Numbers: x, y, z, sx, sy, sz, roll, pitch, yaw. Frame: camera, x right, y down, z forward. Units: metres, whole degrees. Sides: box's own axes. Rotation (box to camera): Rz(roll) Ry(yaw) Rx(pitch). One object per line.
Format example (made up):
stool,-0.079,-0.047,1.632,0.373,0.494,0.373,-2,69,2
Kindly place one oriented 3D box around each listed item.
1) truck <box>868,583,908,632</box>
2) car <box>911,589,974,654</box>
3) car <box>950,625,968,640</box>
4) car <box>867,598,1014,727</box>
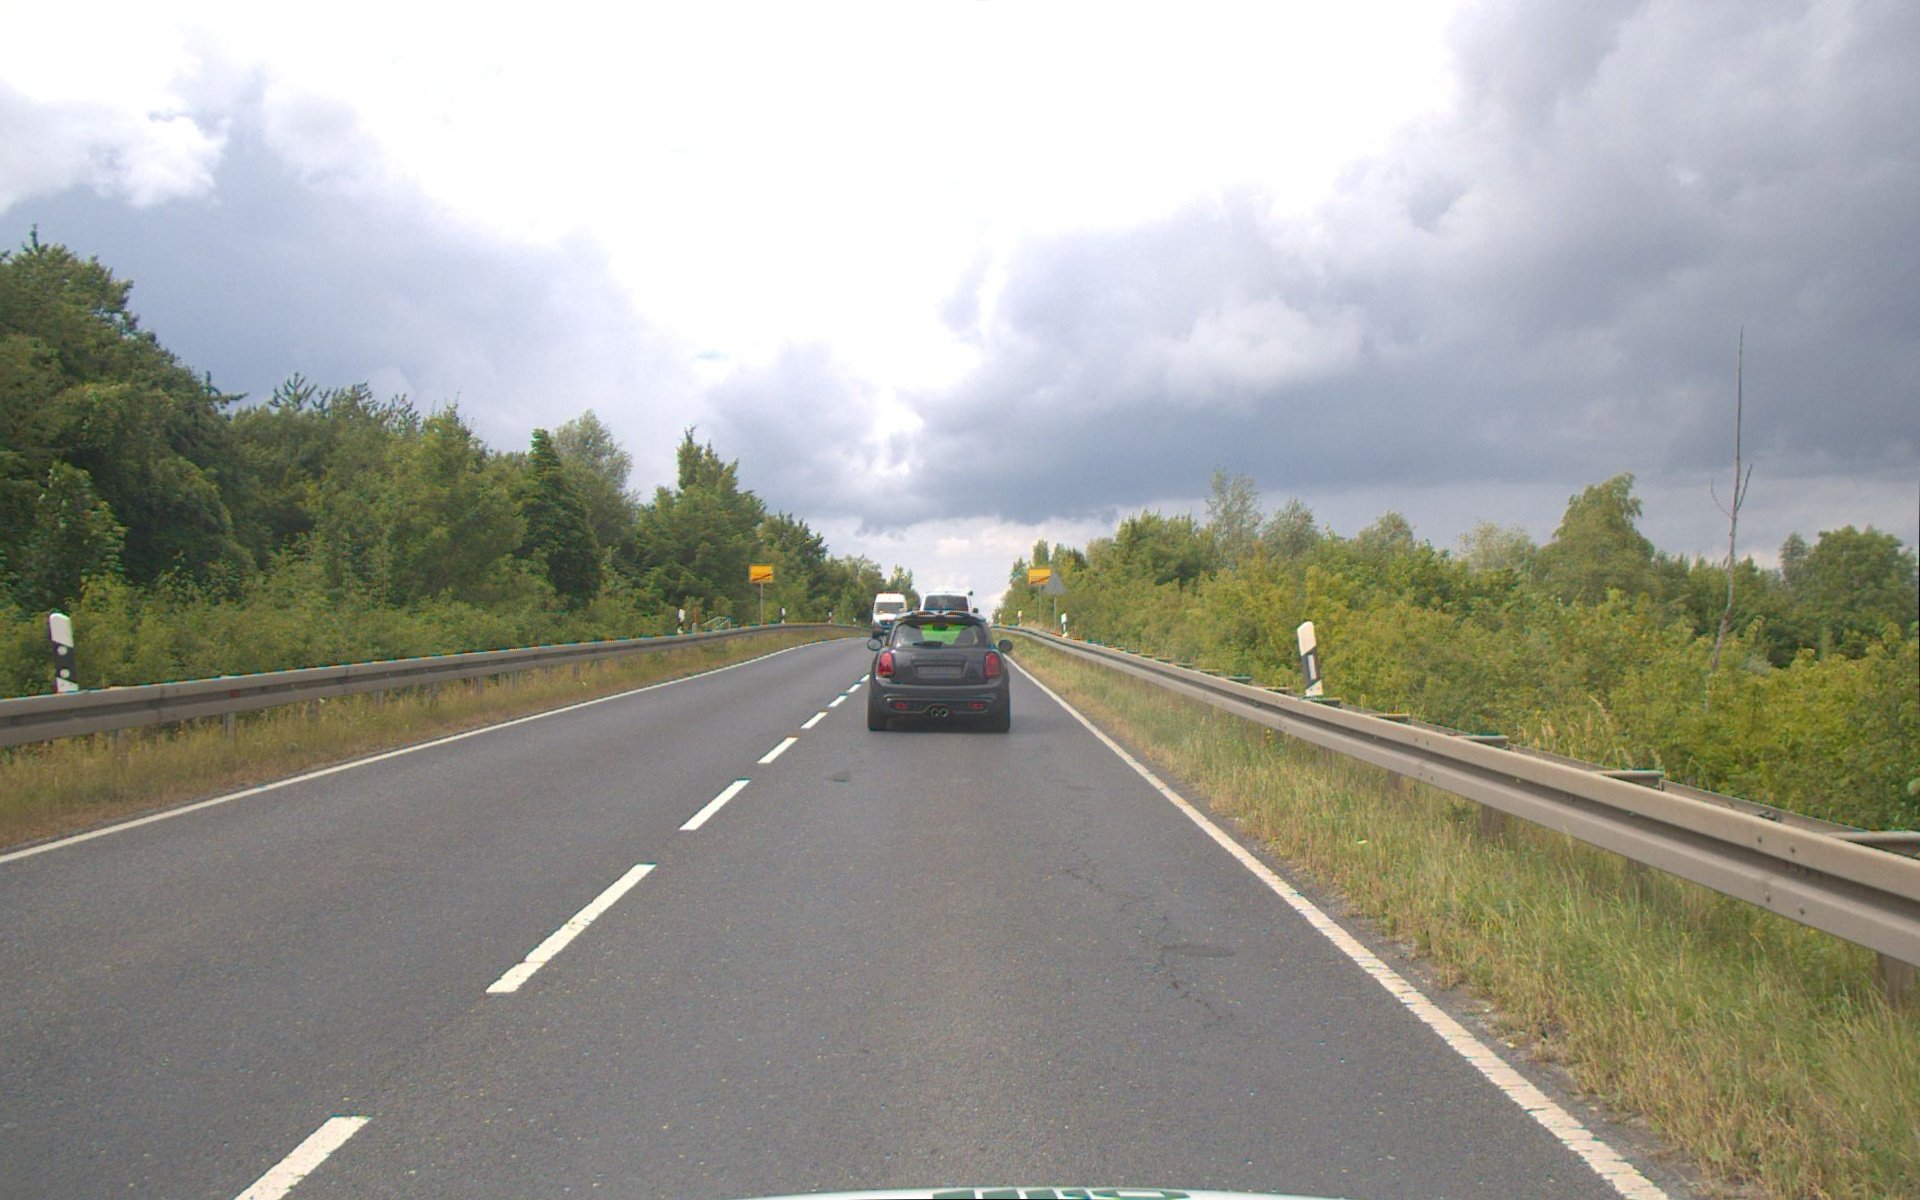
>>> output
truck,-4.260,0.458,98.681,2.023,2.790,7.006,-1,0,0
car,-0.535,0.687,53.615,1.981,2.049,4.000,0,-1,0
car,-0.082,3.300,167.991,1.659,1.342,4.001,-2,0,1
car,-0.289,0.738,21.178,1.697,1.481,3.998,1,0,-2
